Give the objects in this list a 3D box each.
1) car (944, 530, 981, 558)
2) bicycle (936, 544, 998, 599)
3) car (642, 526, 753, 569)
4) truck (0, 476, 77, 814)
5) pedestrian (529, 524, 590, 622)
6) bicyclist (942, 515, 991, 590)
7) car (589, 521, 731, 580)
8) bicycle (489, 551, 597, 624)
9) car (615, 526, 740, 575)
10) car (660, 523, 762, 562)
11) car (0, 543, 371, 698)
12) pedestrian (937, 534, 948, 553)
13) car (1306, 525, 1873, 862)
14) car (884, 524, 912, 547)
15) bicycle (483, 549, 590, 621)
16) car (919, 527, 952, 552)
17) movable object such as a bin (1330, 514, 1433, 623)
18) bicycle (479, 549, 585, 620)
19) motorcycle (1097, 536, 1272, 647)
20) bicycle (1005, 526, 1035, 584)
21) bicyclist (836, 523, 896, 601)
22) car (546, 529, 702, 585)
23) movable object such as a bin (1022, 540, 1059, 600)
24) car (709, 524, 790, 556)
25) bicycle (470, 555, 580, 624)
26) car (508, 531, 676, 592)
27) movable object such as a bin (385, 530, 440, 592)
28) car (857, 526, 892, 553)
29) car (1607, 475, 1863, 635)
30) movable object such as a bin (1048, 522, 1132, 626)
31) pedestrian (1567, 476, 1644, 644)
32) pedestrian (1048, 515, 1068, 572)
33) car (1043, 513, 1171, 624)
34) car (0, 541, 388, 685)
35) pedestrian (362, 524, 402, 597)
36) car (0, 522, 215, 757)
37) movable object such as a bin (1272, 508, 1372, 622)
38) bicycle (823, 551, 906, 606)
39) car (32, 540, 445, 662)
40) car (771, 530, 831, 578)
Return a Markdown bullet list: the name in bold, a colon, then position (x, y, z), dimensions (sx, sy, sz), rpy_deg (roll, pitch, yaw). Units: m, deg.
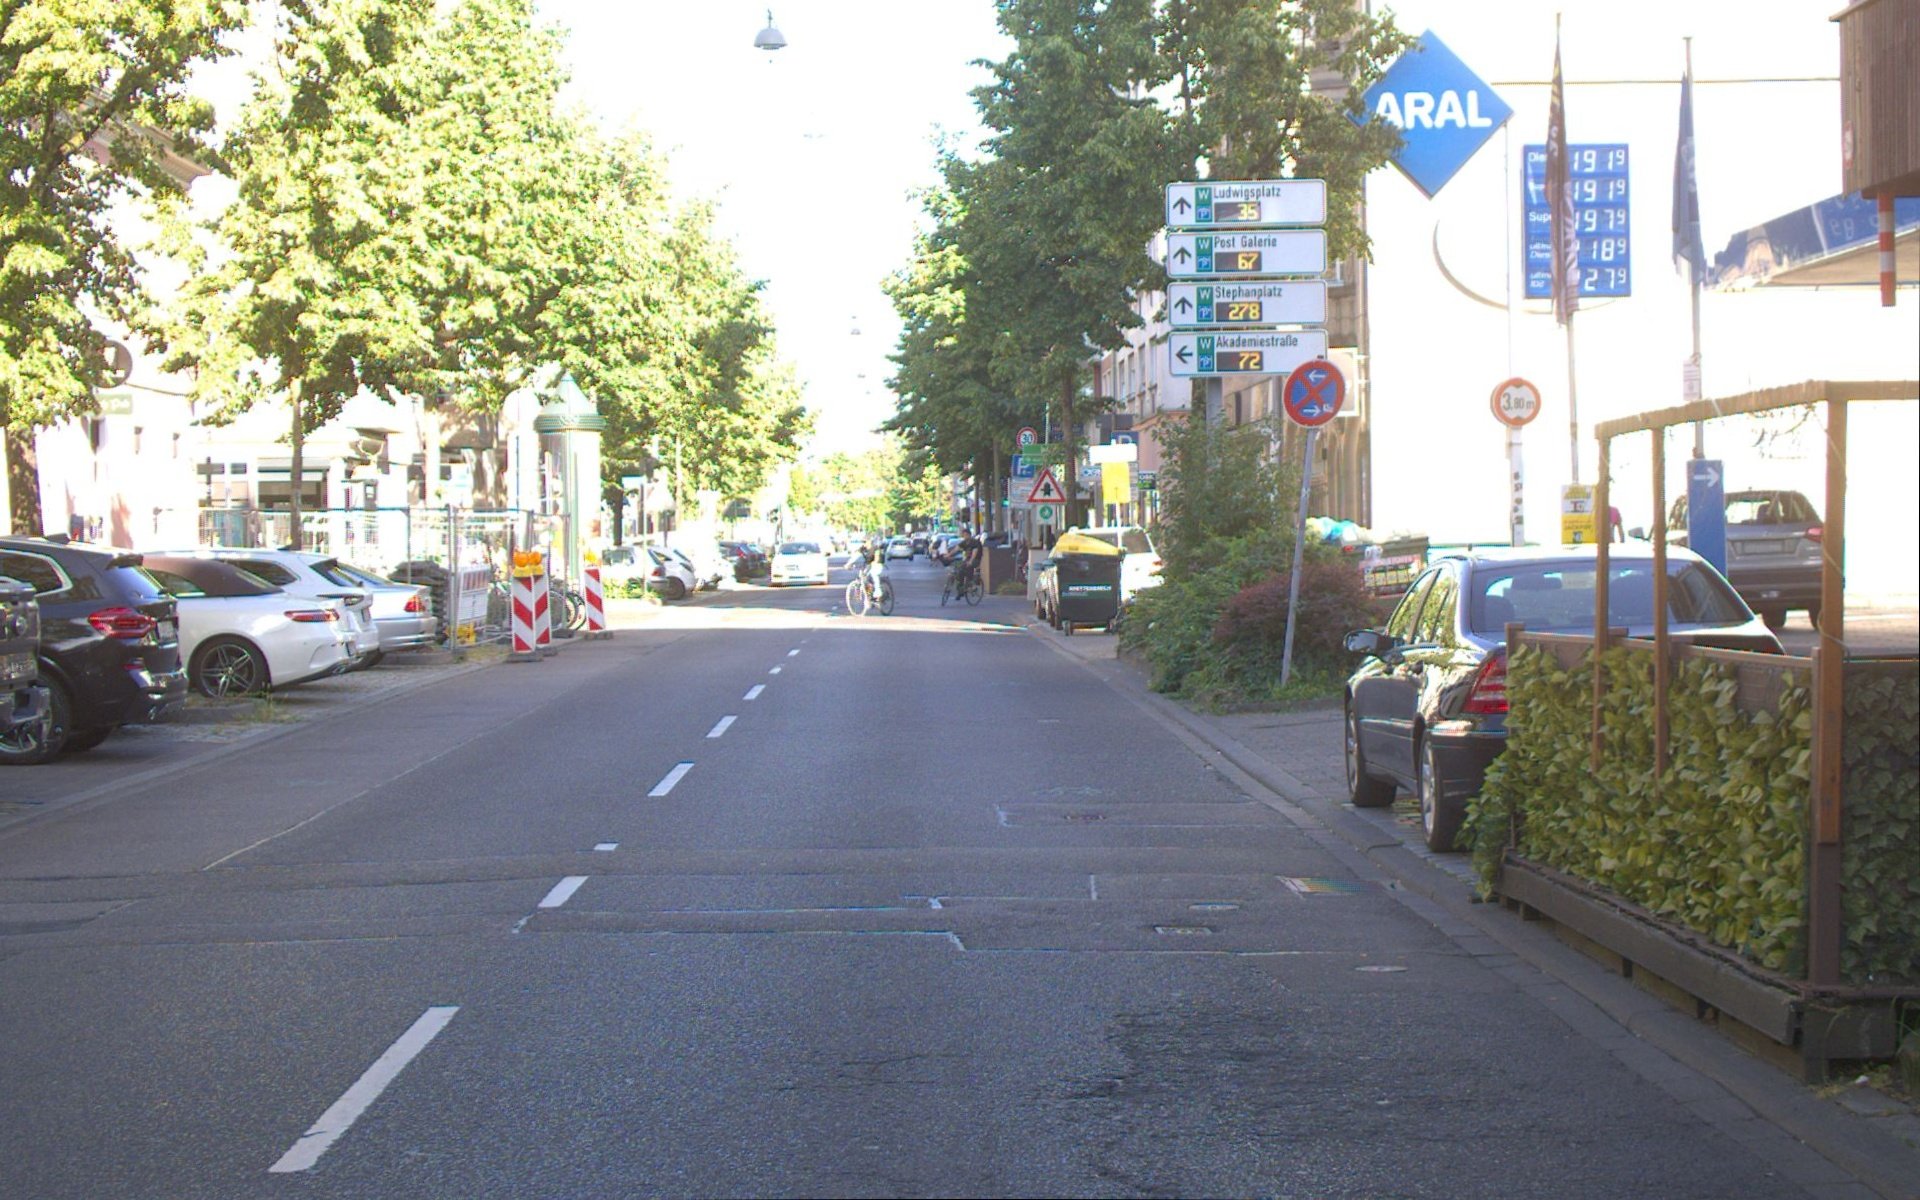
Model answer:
- **car**: position (0.125, -3.103, 190.536), dimensions (1.993, 1.503, 4.000), rpy_deg (0, 1, -1)
- **bicycle**: position (0.161, -0.666, 78.751), dimensions (0.720, 1.215, 2.034), rpy_deg (-1, 1, 21)
- **car**: position (-9.682, -1.951, 126.963), dimensions (3.986, 1.494, 2.000), rpy_deg (-1, 1, -2)
- **truck**: position (-8.064, 0.302, 20.438), dimensions (5.084, 1.931, 2.000), rpy_deg (-1, 1, -1)
- **pedestrian**: position (-7.002, -0.481, 60.049), dimensions (0.792, 1.701, 0.767), rpy_deg (-1, 1, -34)
- **bicyclist**: position (0.160, -1.092, 78.745), dimensions (0.720, 1.687, 1.156), rpy_deg (-1, 1, 21)
- **car**: position (-9.078, -1.505, 104.201), dimensions (3.987, 1.688, 2.000), rpy_deg (-1, 1, 4)
- **bicycle**: position (-7.204, -0.227, 59.376), dimensions (1.854, 1.248, 0.600), rpy_deg (0, 1, -8)
- **car**: position (-9.273, -1.638, 113.017), dimensions (3.986, 1.494, 2.000), rpy_deg (-1, 1, -2)
- **car**: position (-9.963, -2.312, 137.727), dimensions (3.986, 1.494, 2.000), rpy_deg (-1, 1, -2)
- **car**: position (-8.247, 0.185, 33.769), dimensions (4.680, 1.460, 1.808), rpy_deg (0, 1, -4)
- **pedestrian**: position (-0.922, -3.046, 185.775), dimensions (0.545, 1.023, 0.546), rpy_deg (-2, 1, -3)
- **car**: position (3.029, 0.364, 17.565), dimensions (1.901, 1.407, 4.647), rpy_deg (-3, 1, -1)
- **car**: position (-3.991, -4.162, 221.074), dimensions (1.792, 1.406, 4.001), rpy_deg (-1, 2, -1)
- **bicycle**: position (-7.433, -0.271, 60.387), dimensions (1.854, 1.248, 0.600), rpy_deg (0, 1, -8)
- **car**: position (-1.502, -3.682, 210.040), dimensions (1.993, 1.503, 4.000), rpy_deg (0, 1, -1)
- **movable object such as a bin**: position (6.054, -0.462, 49.449), dimensions (1.270, 1.525, 1.177), rpy_deg (-2, 1, -2)
- **bicycle**: position (-7.595, -0.272, 61.026), dimensions (1.854, 1.248, 0.600), rpy_deg (0, 1, -8)
- **motorcycle**: position (2.803, -0.120, 43.026), dimensions (1.977, 1.325, 0.912), rpy_deg (-1, 1, -13)
- **bicycle**: position (1.567, -1.175, 89.511), dimensions (0.560, 1.436, 1.628), rpy_deg (-7, 2, -1)
- **bicyclist**: position (-1.889, -0.765, 69.046), dimensions (0.768, 1.555, 1.039), rpy_deg (0, 1, 29)
- **car**: position (-8.903, -1.156, 91.292), dimensions (3.986, 1.385, 2.000), rpy_deg (-1, 1, -2)
- **movable object such as a bin**: position (1.672, -0.620, 71.307), dimensions (0.705, 1.218, 0.681), rpy_deg (-1, 1, -3)
- **car**: position (-10.514, -2.995, 171.860), dimensions (3.986, 1.494, 2.000), rpy_deg (-1, 1, -2)
- **bicycle**: position (-7.423, -0.179, 58.701), dimensions (1.854, 1.166, 0.600), rpy_deg (0, 1, -8)
- **car**: position (-9.136, -0.965, 85.505), dimensions (3.986, 1.385, 2.000), rpy_deg (-1, 1, -2)
- **movable object such as a bin**: position (-13.219, -0.946, 83.039), dimensions (1.140, 1.480, 1.236), rpy_deg (-1, 1, -3)
- **car**: position (-4.772, -3.376, 190.543), dimensions (1.822, 1.386, 4.301), rpy_deg (-3, 1, -2)
- **car**: position (8.625, -0.528, 38.603), dimensions (1.901, 1.642, 4.293), rpy_deg (-2, 1, 0)
- **movable object such as a bin**: position (2.029, -0.416, 53.463), dimensions (1.143, 1.556, 1.459), rpy_deg (-1, 1, 7)
- **pedestrian**: position (7.212, -0.448, 38.433), dimensions (0.707, 1.843, 0.688), rpy_deg (-2, 1, 2)
- **pedestrian**: position (2.865, -1.649, 100.493), dimensions (0.547, 1.644, 0.664), rpy_deg (-1, 1, 0)
- **car**: position (2.422, -0.558, 57.672), dimensions (1.822, 1.673, 4.601), rpy_deg (-3, 1, 0)
- **car**: position (-8.510, 0.121, 36.389), dimensions (4.680, 1.460, 1.808), rpy_deg (0, 1, -4)
- **pedestrian**: position (-13.288, -0.912, 79.008), dimensions (0.771, 1.637, 0.690), rpy_deg (-2, 1, -18)
- **car**: position (-8.120, 0.279, 25.716), dimensions (4.680, 1.687, 1.808), rpy_deg (0, 1, 1)
- **movable object such as a bin**: position (5.329, -0.524, 50.702), dimensions (1.205, 1.622, 1.498), rpy_deg (-2, 1, -2)
- **bicycle**: position (-1.903, -0.432, 69.055), dimensions (0.768, 1.055, 1.952), rpy_deg (0, 1, 29)
- **car**: position (-8.684, -0.006, 41.700), dimensions (4.680, 1.407, 1.808), rpy_deg (0, 1, -4)
- **car**: position (-5.110, -1.503, 110.956), dimensions (1.802, 1.430, 4.410), rpy_deg (-3, 1, -2)
